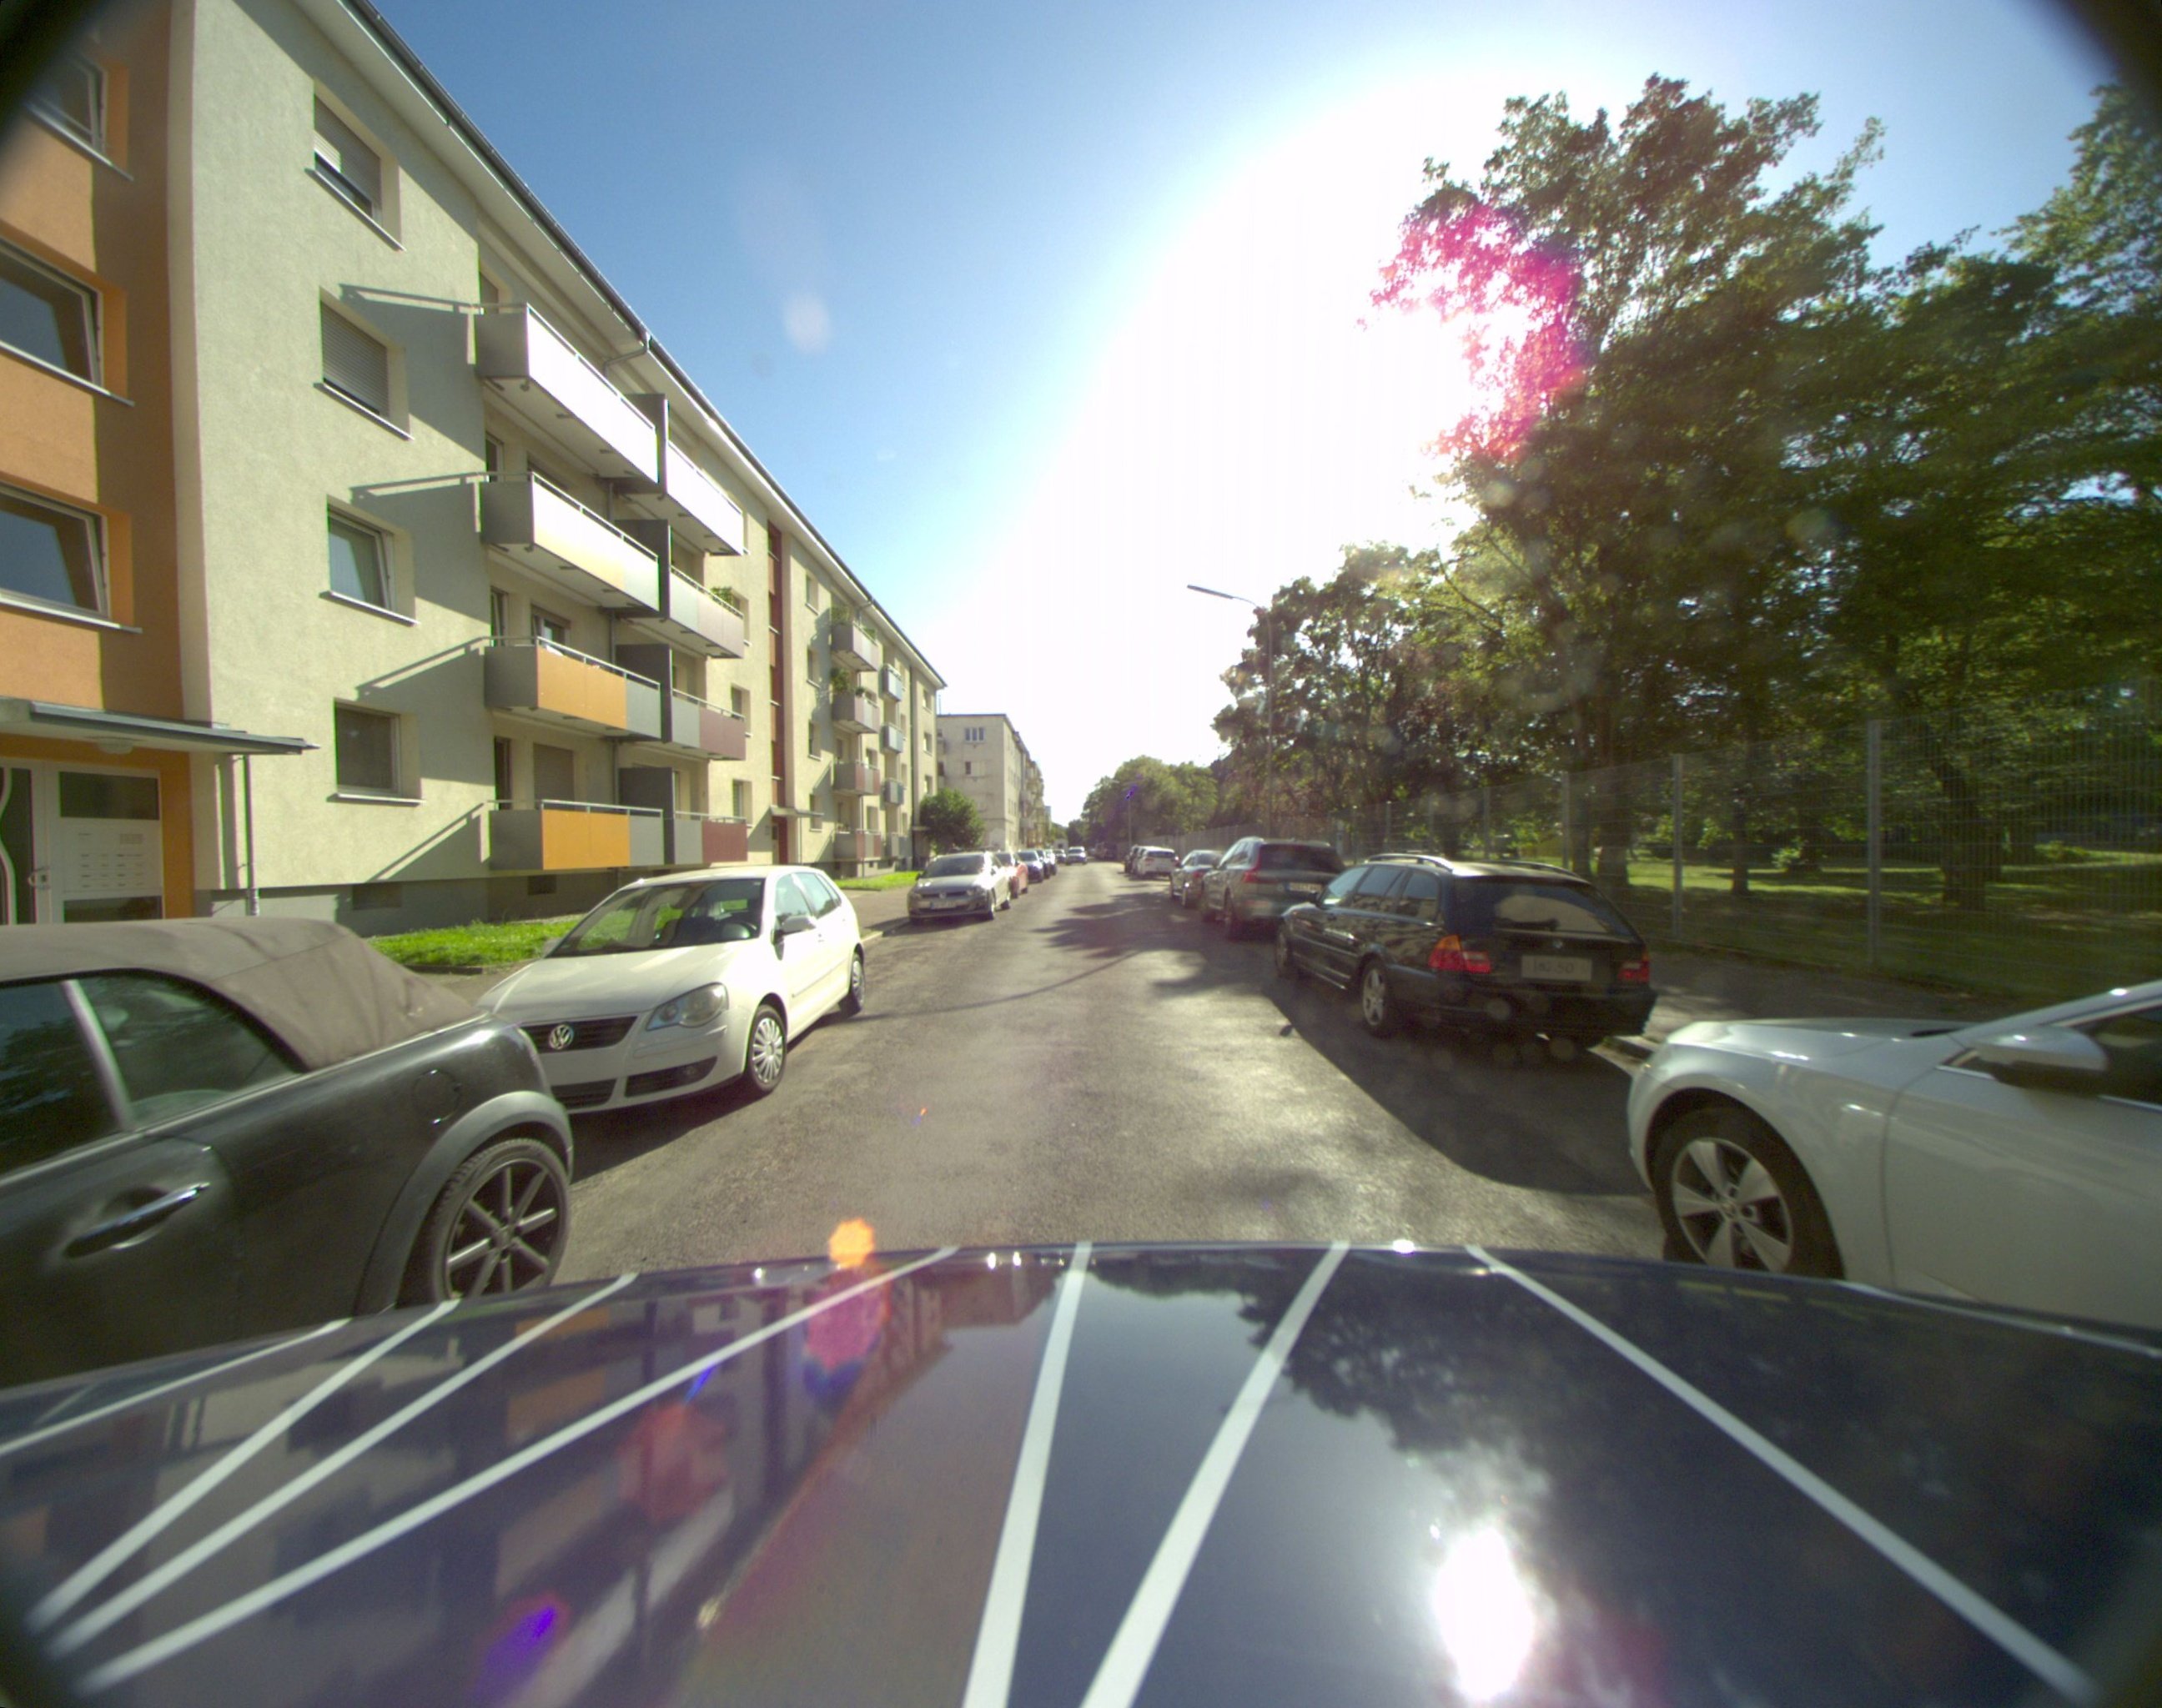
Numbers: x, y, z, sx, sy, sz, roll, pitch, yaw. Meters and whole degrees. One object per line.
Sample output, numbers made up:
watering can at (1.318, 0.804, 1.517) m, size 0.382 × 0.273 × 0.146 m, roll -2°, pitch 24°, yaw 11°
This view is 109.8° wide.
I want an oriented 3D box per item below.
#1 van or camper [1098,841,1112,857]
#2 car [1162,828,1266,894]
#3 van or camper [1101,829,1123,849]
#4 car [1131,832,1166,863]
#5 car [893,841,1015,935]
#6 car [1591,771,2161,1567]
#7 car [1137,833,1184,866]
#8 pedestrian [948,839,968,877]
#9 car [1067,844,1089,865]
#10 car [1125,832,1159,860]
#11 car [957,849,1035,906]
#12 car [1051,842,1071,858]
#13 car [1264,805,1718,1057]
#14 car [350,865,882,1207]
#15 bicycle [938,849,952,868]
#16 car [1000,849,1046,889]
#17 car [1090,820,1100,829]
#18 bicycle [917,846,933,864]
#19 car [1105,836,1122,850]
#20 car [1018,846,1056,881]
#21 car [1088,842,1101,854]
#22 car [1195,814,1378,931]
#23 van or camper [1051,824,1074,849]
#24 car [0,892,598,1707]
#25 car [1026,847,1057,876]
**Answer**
van or camper at (4.029, -0.886, 128.273) m, size 2.126 × 2.485 × 3.998 m, roll -4°, pitch 2°, yaw -2°
car at (3.271, 0.095, 19.543) m, size 1.798 × 1.463 × 4.500 m, roll -1°, pitch 2°, yaw -1°
van or camper at (3.916, -1.942, 97.026) m, size 2.212 × 2.268 × 5.307 m, roll -4°, pitch 2°, yaw -1°
car at (3.694, -0.396, 41.952) m, size 1.568 × 1.634 × 3.614 m, roll 0°, pitch 2°, yaw -1°
car at (-2.705, 0.634, 17.302) m, size 1.903 × 1.613 × 4.600 m, roll -6°, pitch 2°, yaw -1°
car at (3.018, 0.647, 0.717) m, size 1.797 × 1.532 × 4.639 m, roll 2°, pitch 1°, yaw -2°
car at (3.723, -0.268, 36.313) m, size 1.798 × 1.437 × 4.118 m, roll -1°, pitch 2°, yaw 0°
pedestrian at (-5.946, 0.189, 36.777) m, size 0.646 × 1.762 × 0.841 m, roll -3°, pitch 2°, yaw 3°
car at (-0.314, 0.036, 71.753) m, size 1.862 × 1.544 × 3.997 m, roll -6°, pitch 3°, yaw -1°
car at (3.717, -0.530, 46.880) m, size 1.717 × 1.654 × 4.163 m, roll 0°, pitch 2°, yaw -1°
car at (-2.601, 0.672, 24.375) m, size 1.756 × 1.436 × 4.522 m, roll -3°, pitch 2°, yaw 2°
car at (-2.199, -0.461, 82.714) m, size 2.070 × 1.544 × 3.998 m, roll -4°, pitch 2°, yaw -1°
car at (3.116, 0.406, 7.034) m, size 1.796 × 1.554 × 4.458 m, roll 2°, pitch 2°, yaw 1°
car at (-2.853, 0.957, 5.793) m, size 1.690 × 1.455 × 3.817 m, roll -5°, pitch 2°, yaw -2°
bicycle at (-7.724, 0.236, 43.190) m, size 0.486 × 1.006 × 2.282 m, roll -2°, pitch 2°, yaw -3°
car at (-2.543, 0.602, 34.005) m, size 1.757 × 1.472 × 4.078 m, roll -4°, pitch 2°, yaw -2°
car at (3.288, -6.805, 177.879) m, size 1.999 × 2.002 × 3.998 m, roll -3°, pitch 2°, yaw 0°
bicycle at (-8.860, 0.065, 43.268) m, size 0.486 × 0.955 × 2.282 m, roll -2°, pitch 2°, yaw -3°
car at (3.846, -1.347, 91.146) m, size 1.652 × 1.409 × 3.998 m, roll -4°, pitch 2°, yaw -1°
car at (-2.237, 0.441, 39.822) m, size 1.757 × 1.550 × 4.253 m, roll -4°, pitch 2°, yaw -2°
car at (2.043, -0.894, 116.027) m, size 1.652 × 1.674 × 3.998 m, roll -4°, pitch 2°, yaw -1°
car at (3.284, 0.184, 13.273) m, size 1.883 × 1.654 × 4.930 m, roll 0°, pitch 2°, yaw 0°
van or camper at (-2.521, -2.418, 105.217) m, size 2.958 × 3.162 × 6.171 m, roll -2°, pitch 1°, yaw 0°
car at (-2.736, 1.035, 0.975) m, size 1.692 × 1.459 × 3.581 m, roll -7°, pitch 2°, yaw 1°
car at (-2.286, 0.411, 44.655) m, size 1.609 × 1.476 × 3.796 m, roll -4°, pitch 2°, yaw -1°
